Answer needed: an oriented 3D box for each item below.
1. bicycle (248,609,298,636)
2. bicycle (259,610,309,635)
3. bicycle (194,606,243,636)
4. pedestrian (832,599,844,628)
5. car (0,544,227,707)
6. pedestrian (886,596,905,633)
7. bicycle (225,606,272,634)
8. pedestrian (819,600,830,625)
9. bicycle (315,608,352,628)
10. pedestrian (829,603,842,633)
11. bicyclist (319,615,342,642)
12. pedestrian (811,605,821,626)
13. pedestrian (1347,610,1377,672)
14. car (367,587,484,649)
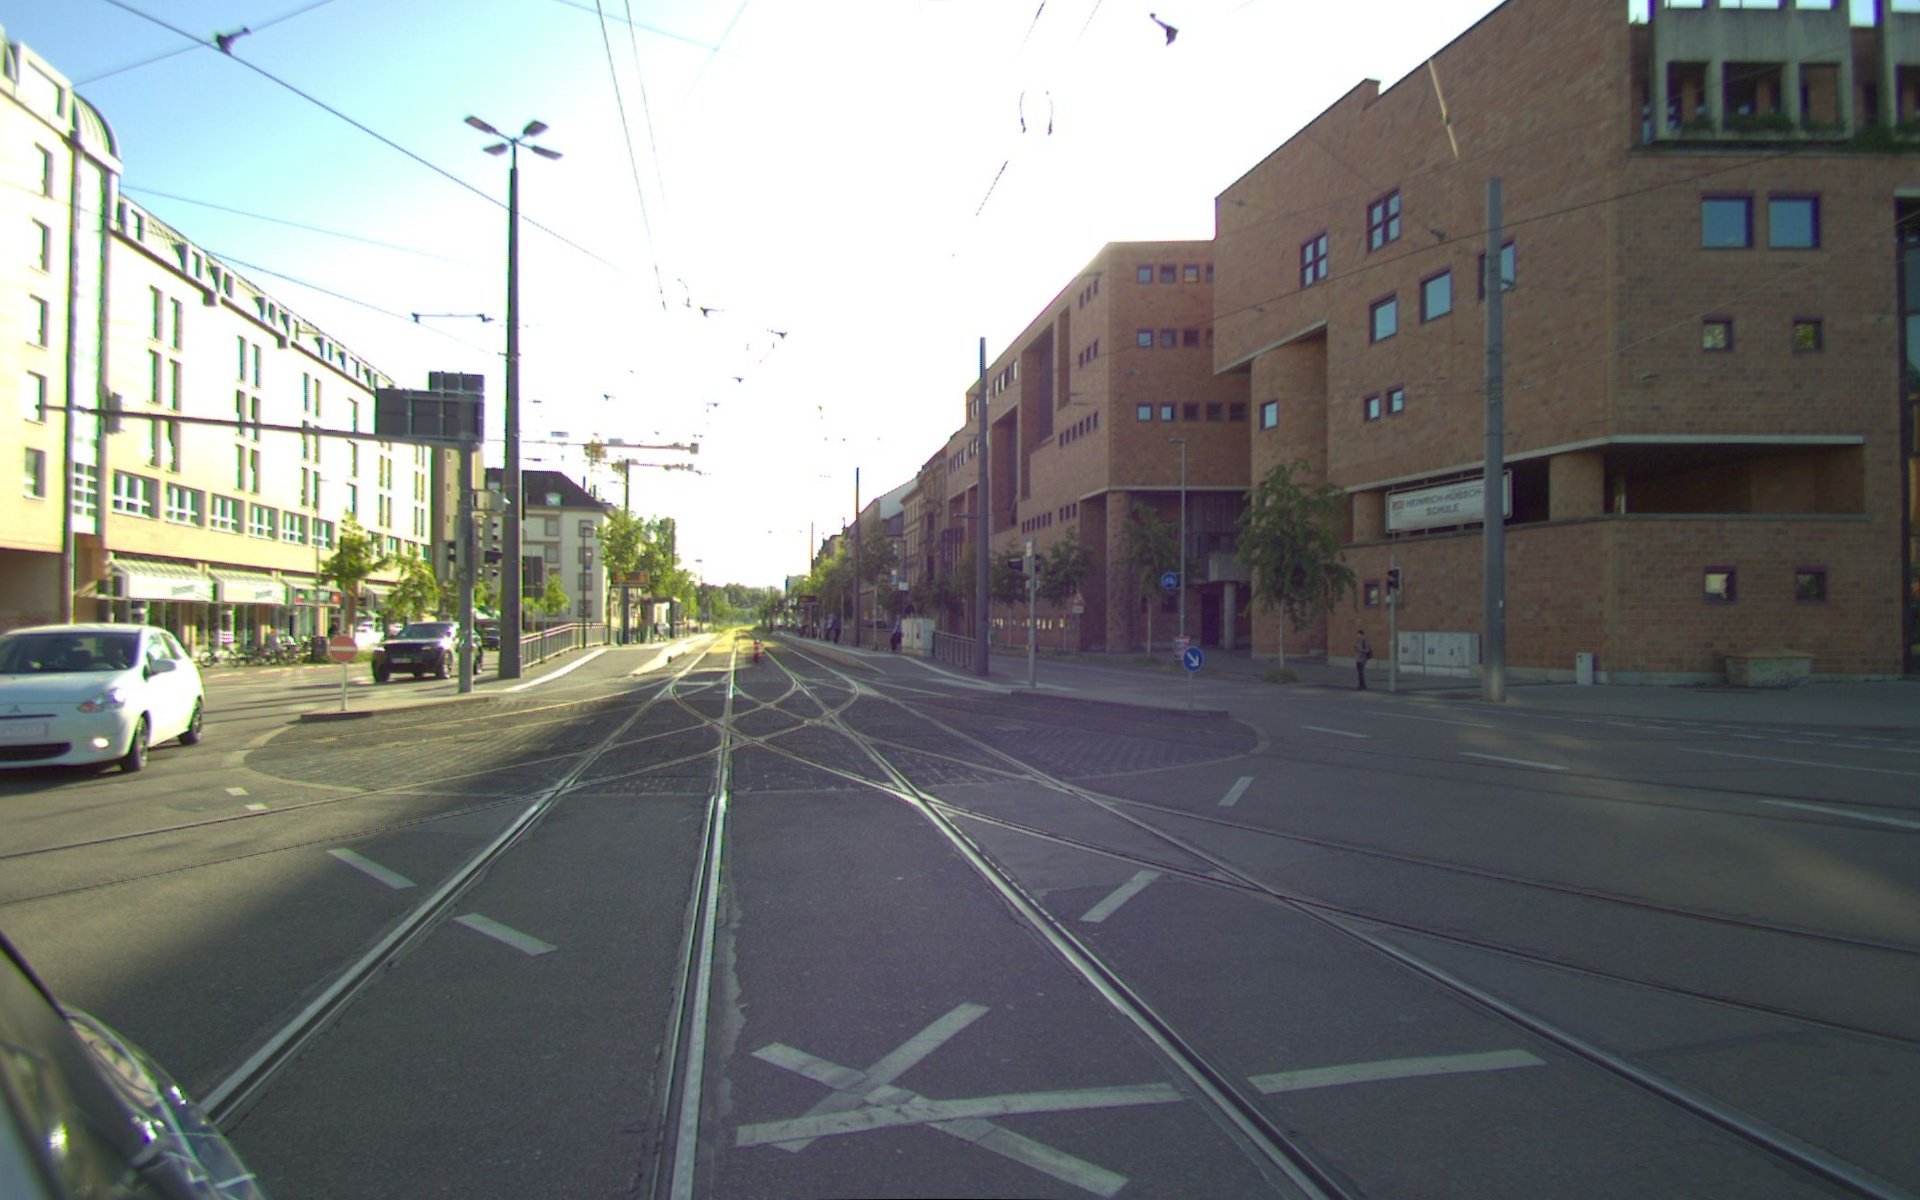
[{"bbox_3d":[-30.611,1.003,45.082,1.747,1.150,0.554,2,0,-9],"label":"bicycle"},{"bbox_3d":[-30.911,1.014,46.278,1.747,1.079,0.738,2,0,-9],"label":"bicycle"},{"bbox_3d":[-31.028,0.871,42.352,1.756,1.157,0.551,2,0,10],"label":"bicycle"},{"bbox_3d":[-7.621,0.837,63.076,0.681,1.755,0.588,1,-1,-14],"label":"pedestrian"},{"bbox_3d":[-9.508,0.257,11.105,1.613,1.477,4.200,0,-1,-25],"label":"car"},{"bbox_3d":[-2.704,0.614,42.522,0.690,1.546,0.656,1,-1,-14],"label":"pedestrian"},{"bbox_3d":[-30.793,0.870,43.806,1.756,1.157,0.551,2,0,10],"label":"bicycle"},{"bbox_3d":[-9.700,0.883,72.475,0.681,1.755,0.588,1,-1,-14],"label":"pedestrian"},{"bbox_3d":[-36.112,1.057,58.361,0.597,1.058,1.873,4,-2,14],"label":"bicycle"},{"bbox_3d":[-7.178,1.047,58.479,0.681,1.755,0.588,1,-1,-14],"label":"pedestrian"},{"bbox_3d":[-36.185,1.639,58.149,0.575,1.526,0.845,3,-3,16],"label":"bicyclist"},{"bbox_3d":[-11.057,1.209,77.693,0.681,1.587,0.588,1,-1,-14],"label":"pedestrian"},{"bbox_3d":[10.694,1.087,26.913,0.501,1.629,0.506,-1,0,-22],"label":"pedestrian"},{"bbox_3d":[-15.551,0.492,29.705,1.924,1.674,4.366,-1,0,-12],"label":"car"}]
